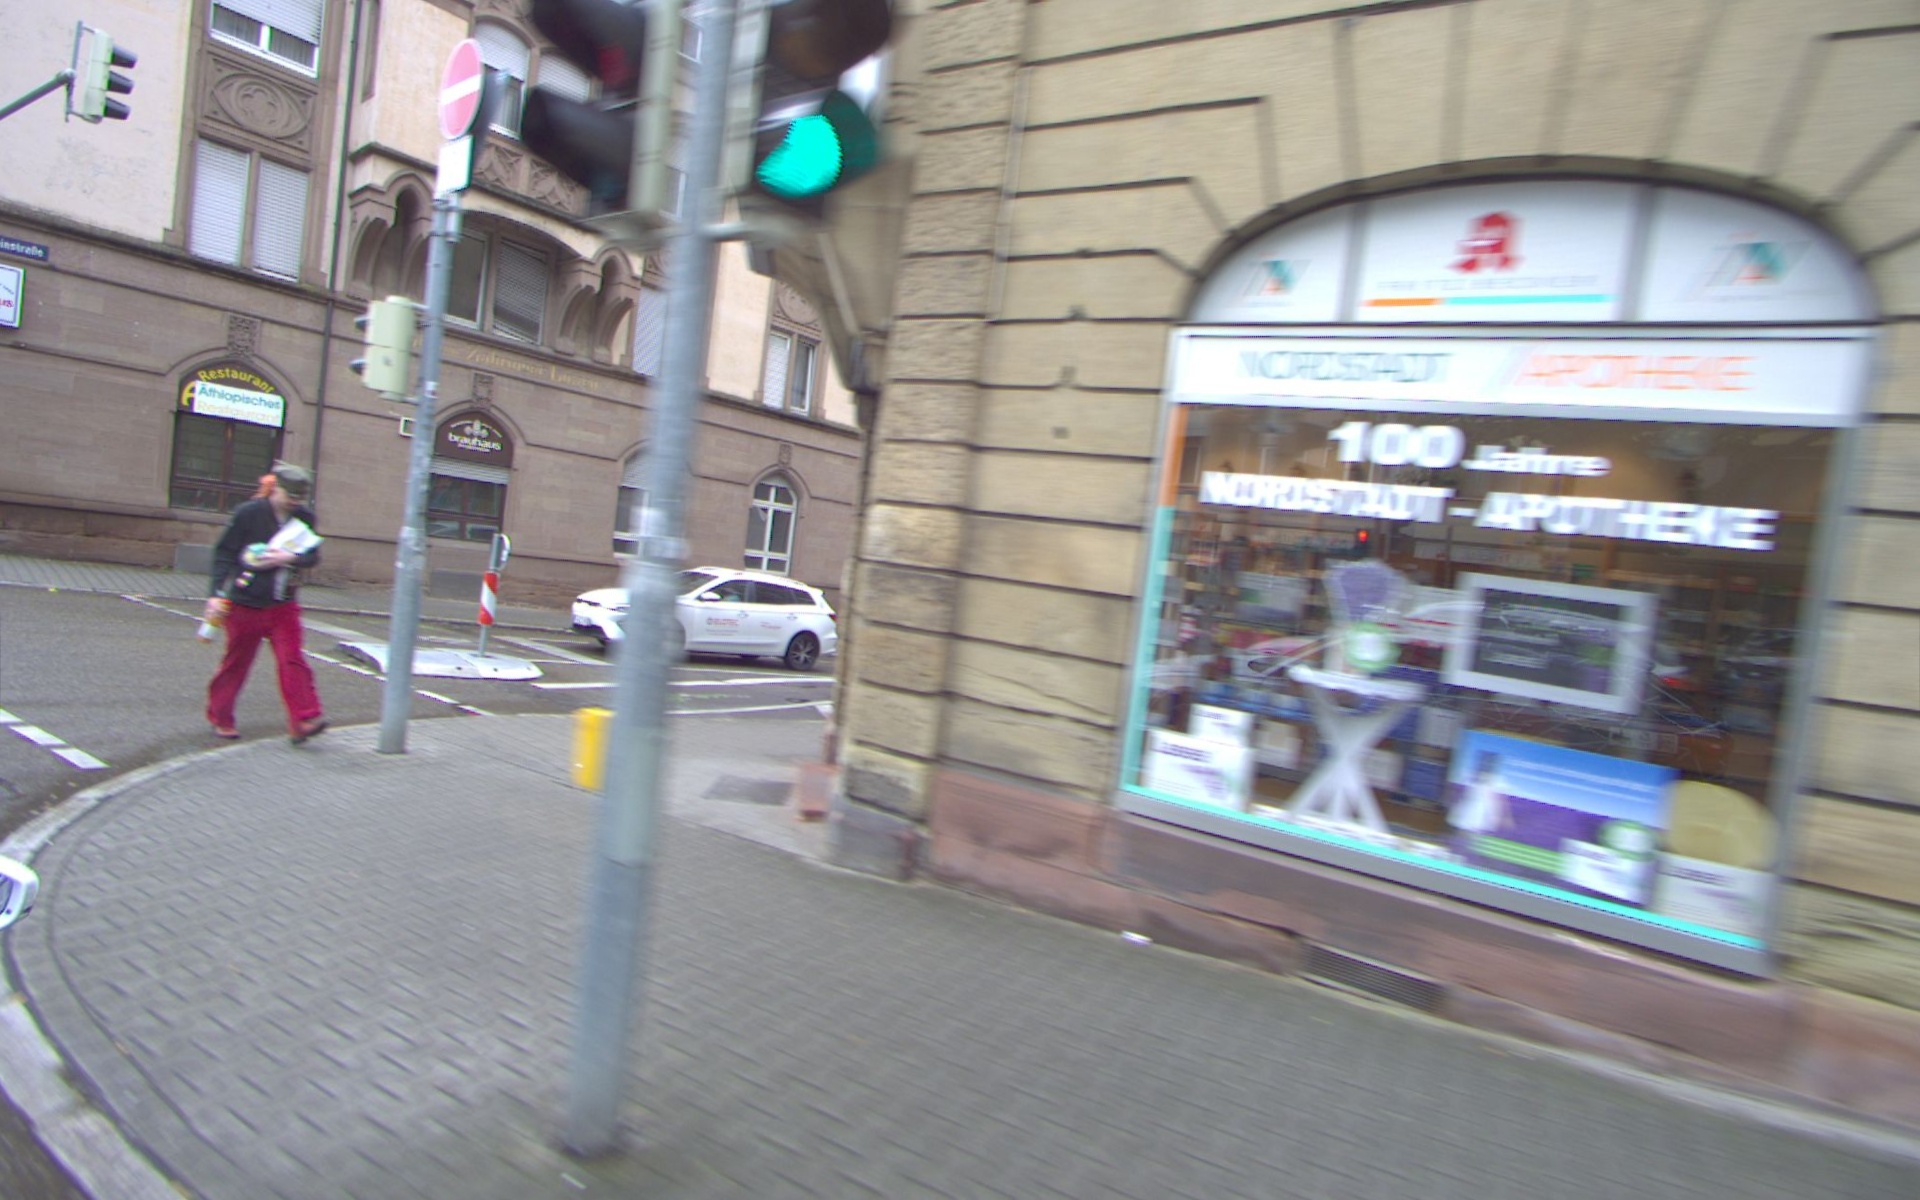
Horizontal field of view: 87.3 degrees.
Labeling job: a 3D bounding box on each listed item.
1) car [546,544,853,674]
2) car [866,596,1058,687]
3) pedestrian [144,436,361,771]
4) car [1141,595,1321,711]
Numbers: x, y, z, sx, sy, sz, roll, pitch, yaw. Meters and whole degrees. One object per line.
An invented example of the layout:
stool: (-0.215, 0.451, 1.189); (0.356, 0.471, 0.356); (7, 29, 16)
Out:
car: (-4.199, 0.210, 16.769); (1.818, 1.528, 4.549); (8, 0, 45)
car: (0.127, 0.935, 21.468); (1.703, 1.443, 4.062); (7, -1, 42)
pedestrian: (-4.608, 0.005, 6.538); (1.074, 1.973, 0.697); (9, 2, 38)
car: (5.766, 1.170, 21.080); (1.816, 1.923, 4.161); (9, 0, 41)
